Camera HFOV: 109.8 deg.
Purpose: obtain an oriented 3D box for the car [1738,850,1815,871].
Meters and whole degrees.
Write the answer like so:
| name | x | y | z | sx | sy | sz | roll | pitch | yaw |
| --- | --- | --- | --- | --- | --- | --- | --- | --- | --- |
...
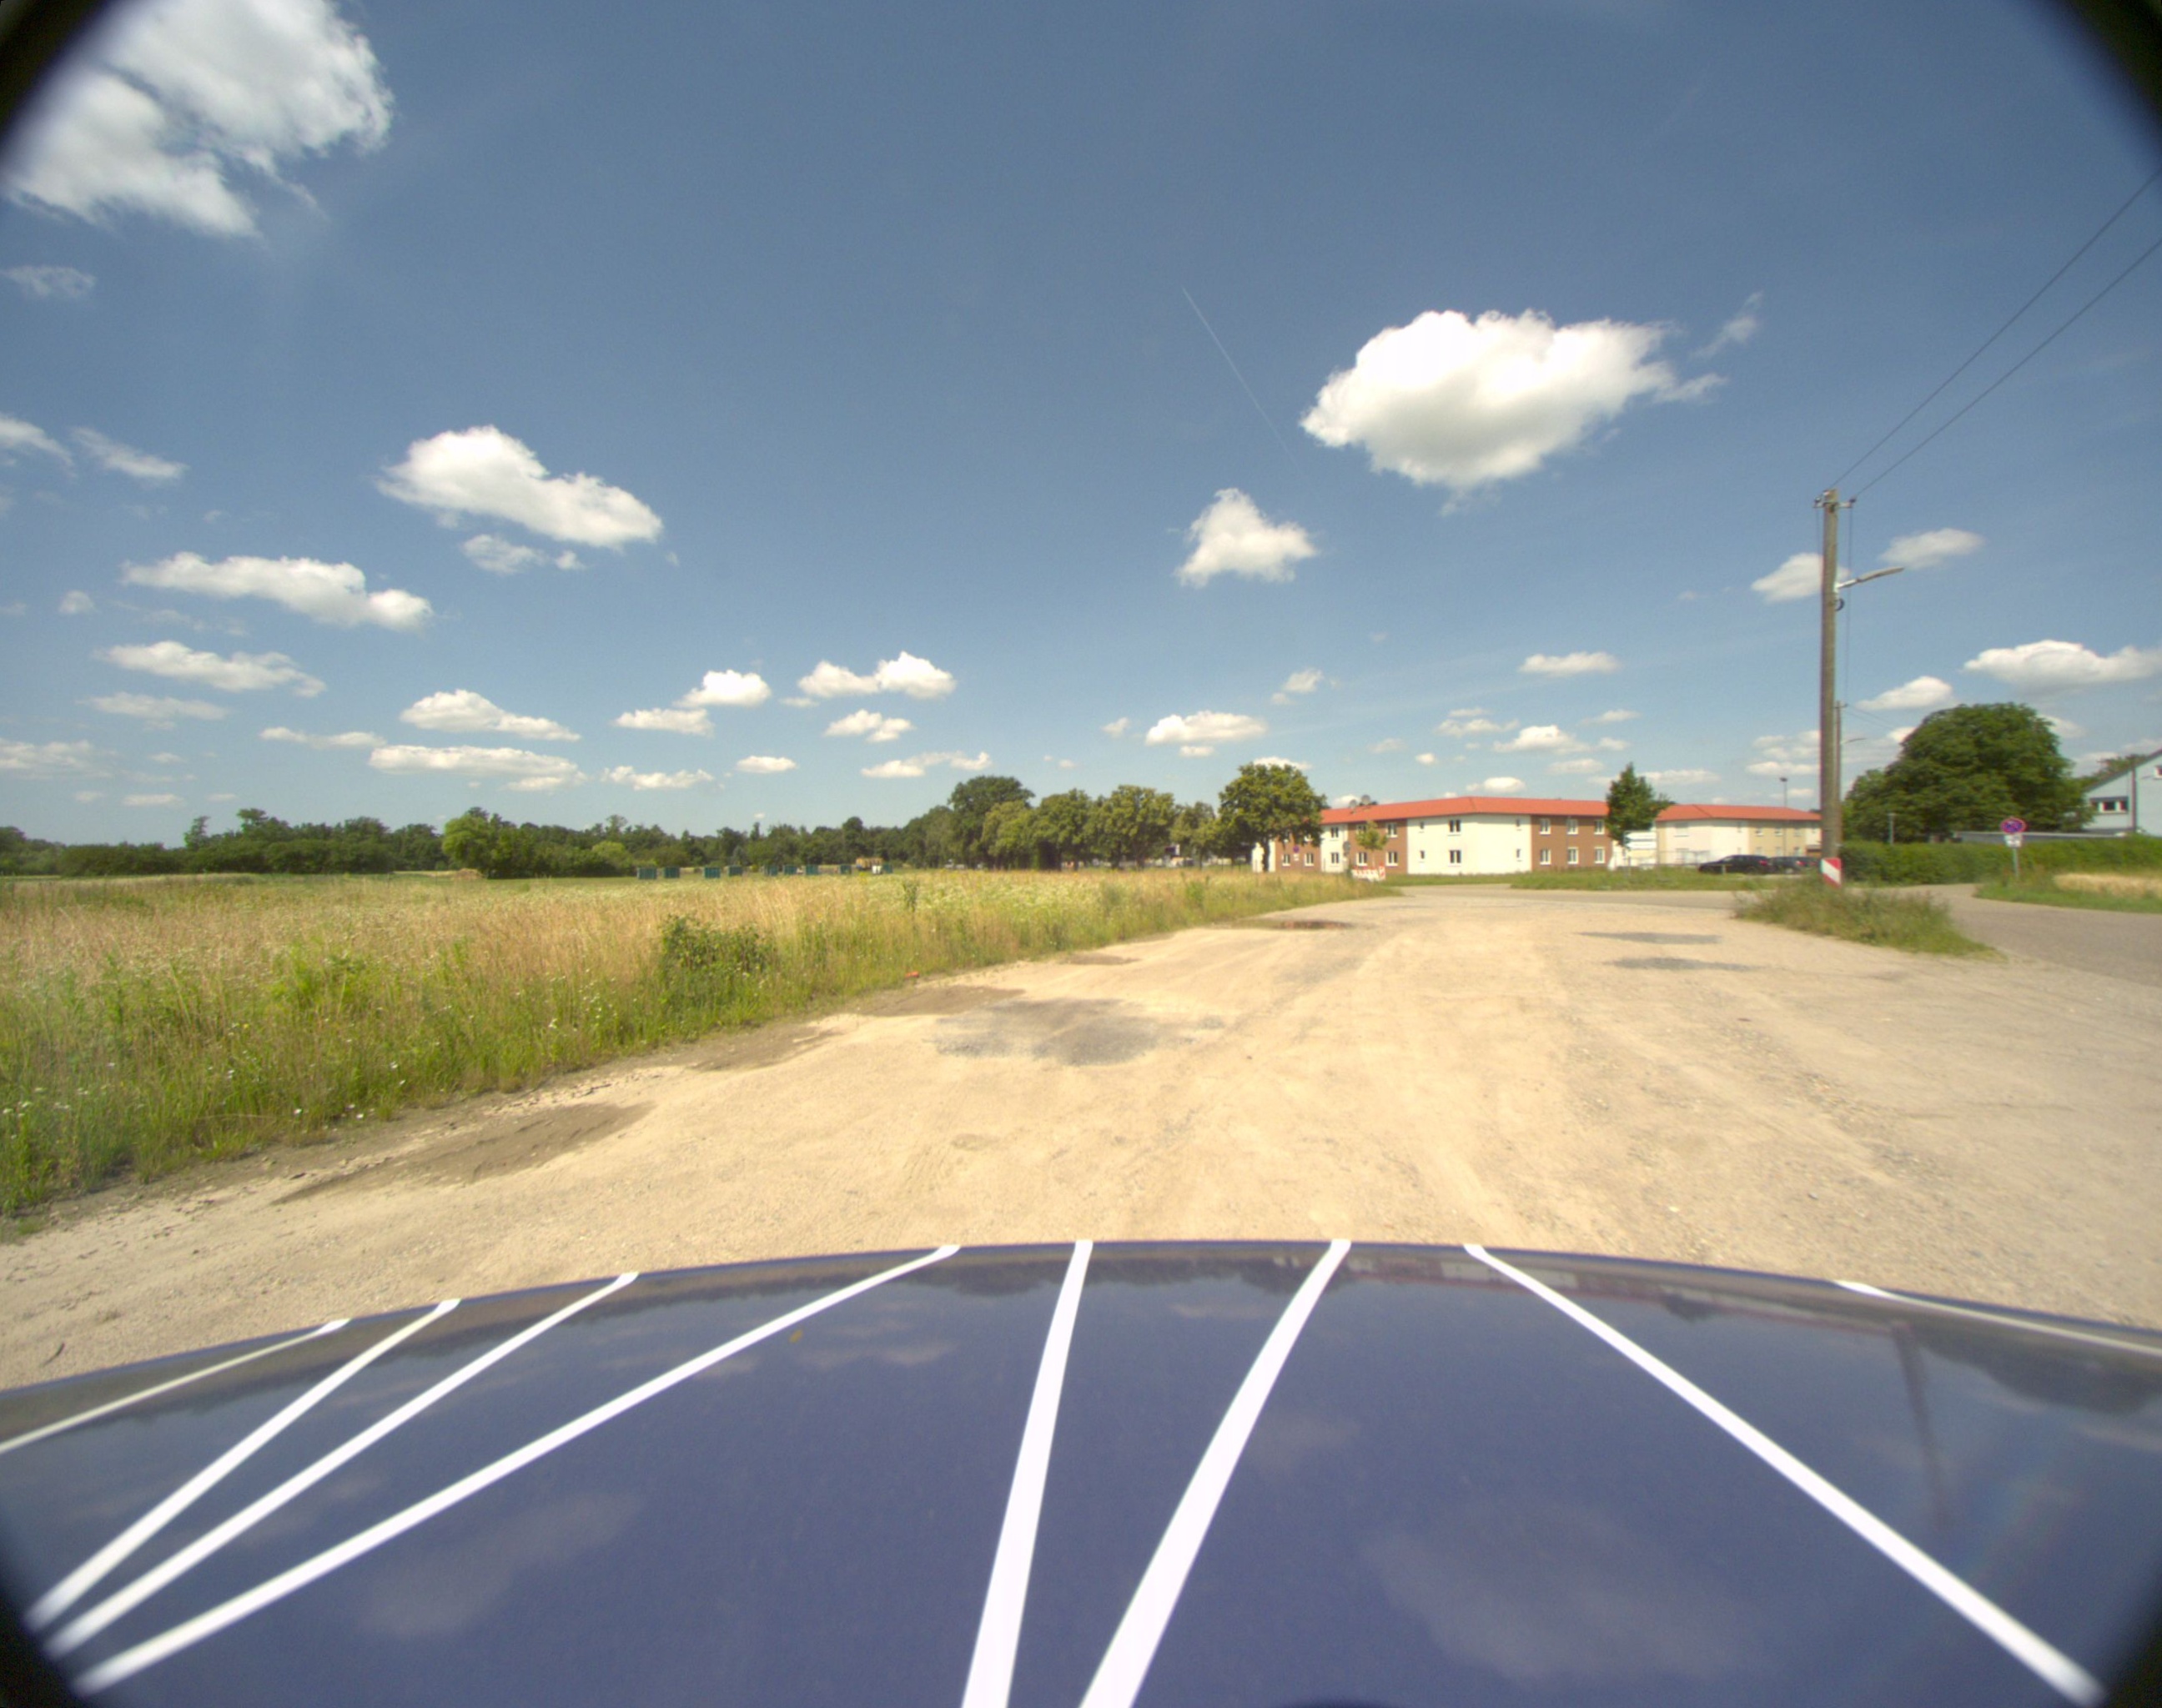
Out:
| name | x | y | z | sx | sy | sz | roll | pitch | yaw |
| --- | --- | --- | --- | --- | --- | --- | --- | --- | --- |
| car | 56.070 | 0.546 | 61.337 | 2.003 | 1.605 | 4.140 | 0 | 0 | -25 |

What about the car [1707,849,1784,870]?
| name | x | y | z | sx | sy | sz | roll | pitch | yaw |
| --- | --- | --- | --- | --- | --- | --- | --- | --- | --- |
| car | 52.361 | 0.456 | 59.977 | 2.003 | 1.605 | 4.140 | 0 | 0 | -25 |
